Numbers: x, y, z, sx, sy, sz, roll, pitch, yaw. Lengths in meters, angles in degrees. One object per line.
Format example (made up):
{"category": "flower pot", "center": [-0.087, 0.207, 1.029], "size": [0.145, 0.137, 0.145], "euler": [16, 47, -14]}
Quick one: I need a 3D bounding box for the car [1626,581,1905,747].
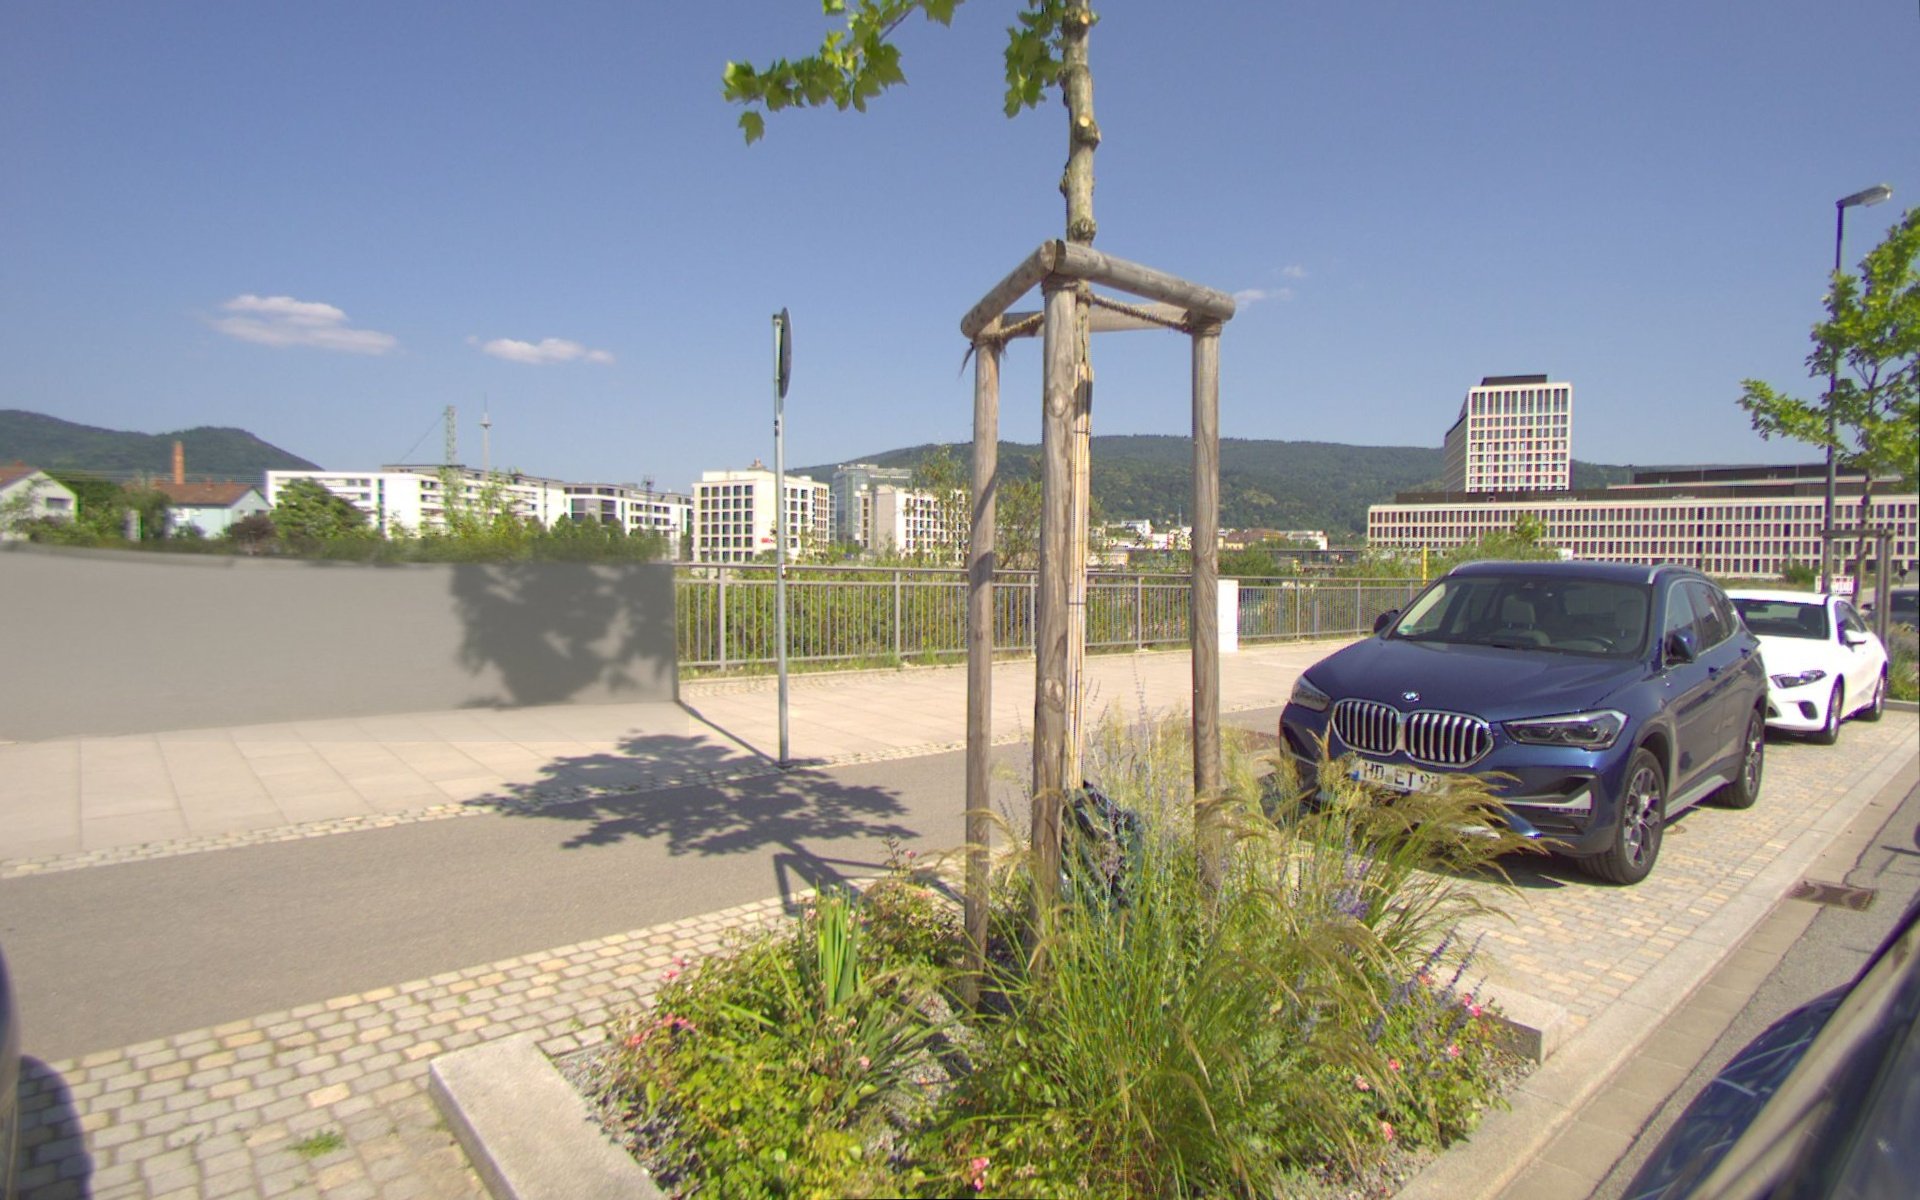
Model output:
{"category": "car", "center": [8.782, 0.543, 10.918], "size": [3.930, 1.473, 1.663], "euler": [-1, 0, -41]}

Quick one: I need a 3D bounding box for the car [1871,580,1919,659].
{"category": "car", "center": [20.379, 0.361, 21.047], "size": [3.930, 1.558, 1.663], "euler": [-1, 0, -41]}

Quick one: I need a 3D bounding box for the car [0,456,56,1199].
{"category": "car", "center": [-2.996, 0.557, 0.368], "size": [3.930, 1.444, 1.663], "euler": [-1, 3, -41]}

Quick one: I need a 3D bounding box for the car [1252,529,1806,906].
{"category": "car", "center": [3.796, 0.483, 6.412], "size": [4.164, 1.627, 1.768], "euler": [-1, 0, -41]}
